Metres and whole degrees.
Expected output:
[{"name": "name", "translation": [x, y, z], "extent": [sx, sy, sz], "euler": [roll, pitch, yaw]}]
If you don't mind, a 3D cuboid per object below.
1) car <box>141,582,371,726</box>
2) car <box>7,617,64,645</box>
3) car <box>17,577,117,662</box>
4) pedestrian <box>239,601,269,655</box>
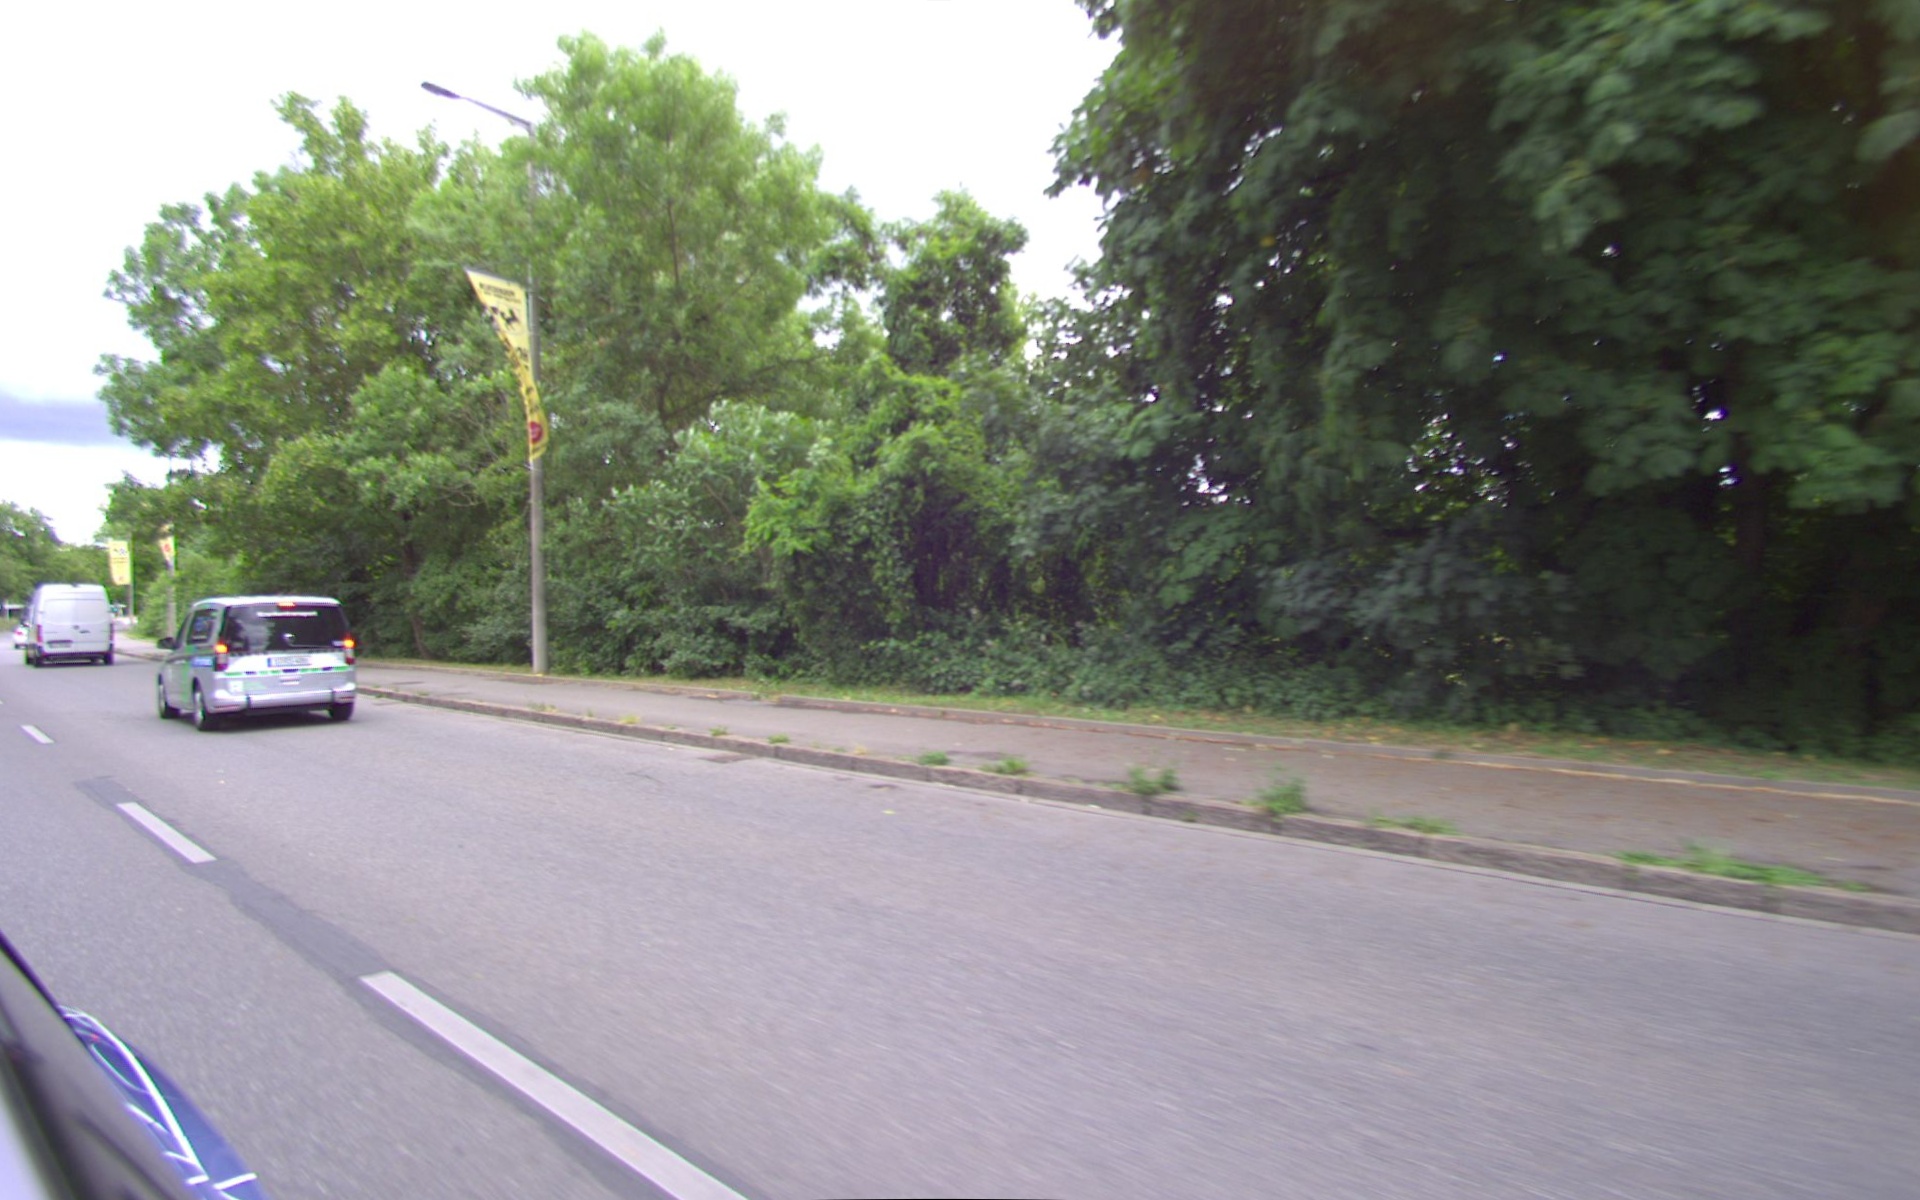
[{"name": "car", "translation": [-10.488, 0.738, 14.940], "extent": [4.556, 1.813, 1.836], "euler": [-2, -2, 42]}, {"name": "car", "translation": [-50.955, 1.692, 55.828], "extent": [1.701, 1.439, 4.011], "euler": [-1, 0, -33]}, {"name": "car", "translation": [-30.291, 0.675, 34.261], "extent": [5.895, 2.646, 1.972], "euler": [-2, -2, 43]}, {"name": "pedestrian", "translation": [-23.398, 0.917, 33.538], "extent": [0.814, 1.727, 0.593], "euler": [-2, 1, 43]}]
